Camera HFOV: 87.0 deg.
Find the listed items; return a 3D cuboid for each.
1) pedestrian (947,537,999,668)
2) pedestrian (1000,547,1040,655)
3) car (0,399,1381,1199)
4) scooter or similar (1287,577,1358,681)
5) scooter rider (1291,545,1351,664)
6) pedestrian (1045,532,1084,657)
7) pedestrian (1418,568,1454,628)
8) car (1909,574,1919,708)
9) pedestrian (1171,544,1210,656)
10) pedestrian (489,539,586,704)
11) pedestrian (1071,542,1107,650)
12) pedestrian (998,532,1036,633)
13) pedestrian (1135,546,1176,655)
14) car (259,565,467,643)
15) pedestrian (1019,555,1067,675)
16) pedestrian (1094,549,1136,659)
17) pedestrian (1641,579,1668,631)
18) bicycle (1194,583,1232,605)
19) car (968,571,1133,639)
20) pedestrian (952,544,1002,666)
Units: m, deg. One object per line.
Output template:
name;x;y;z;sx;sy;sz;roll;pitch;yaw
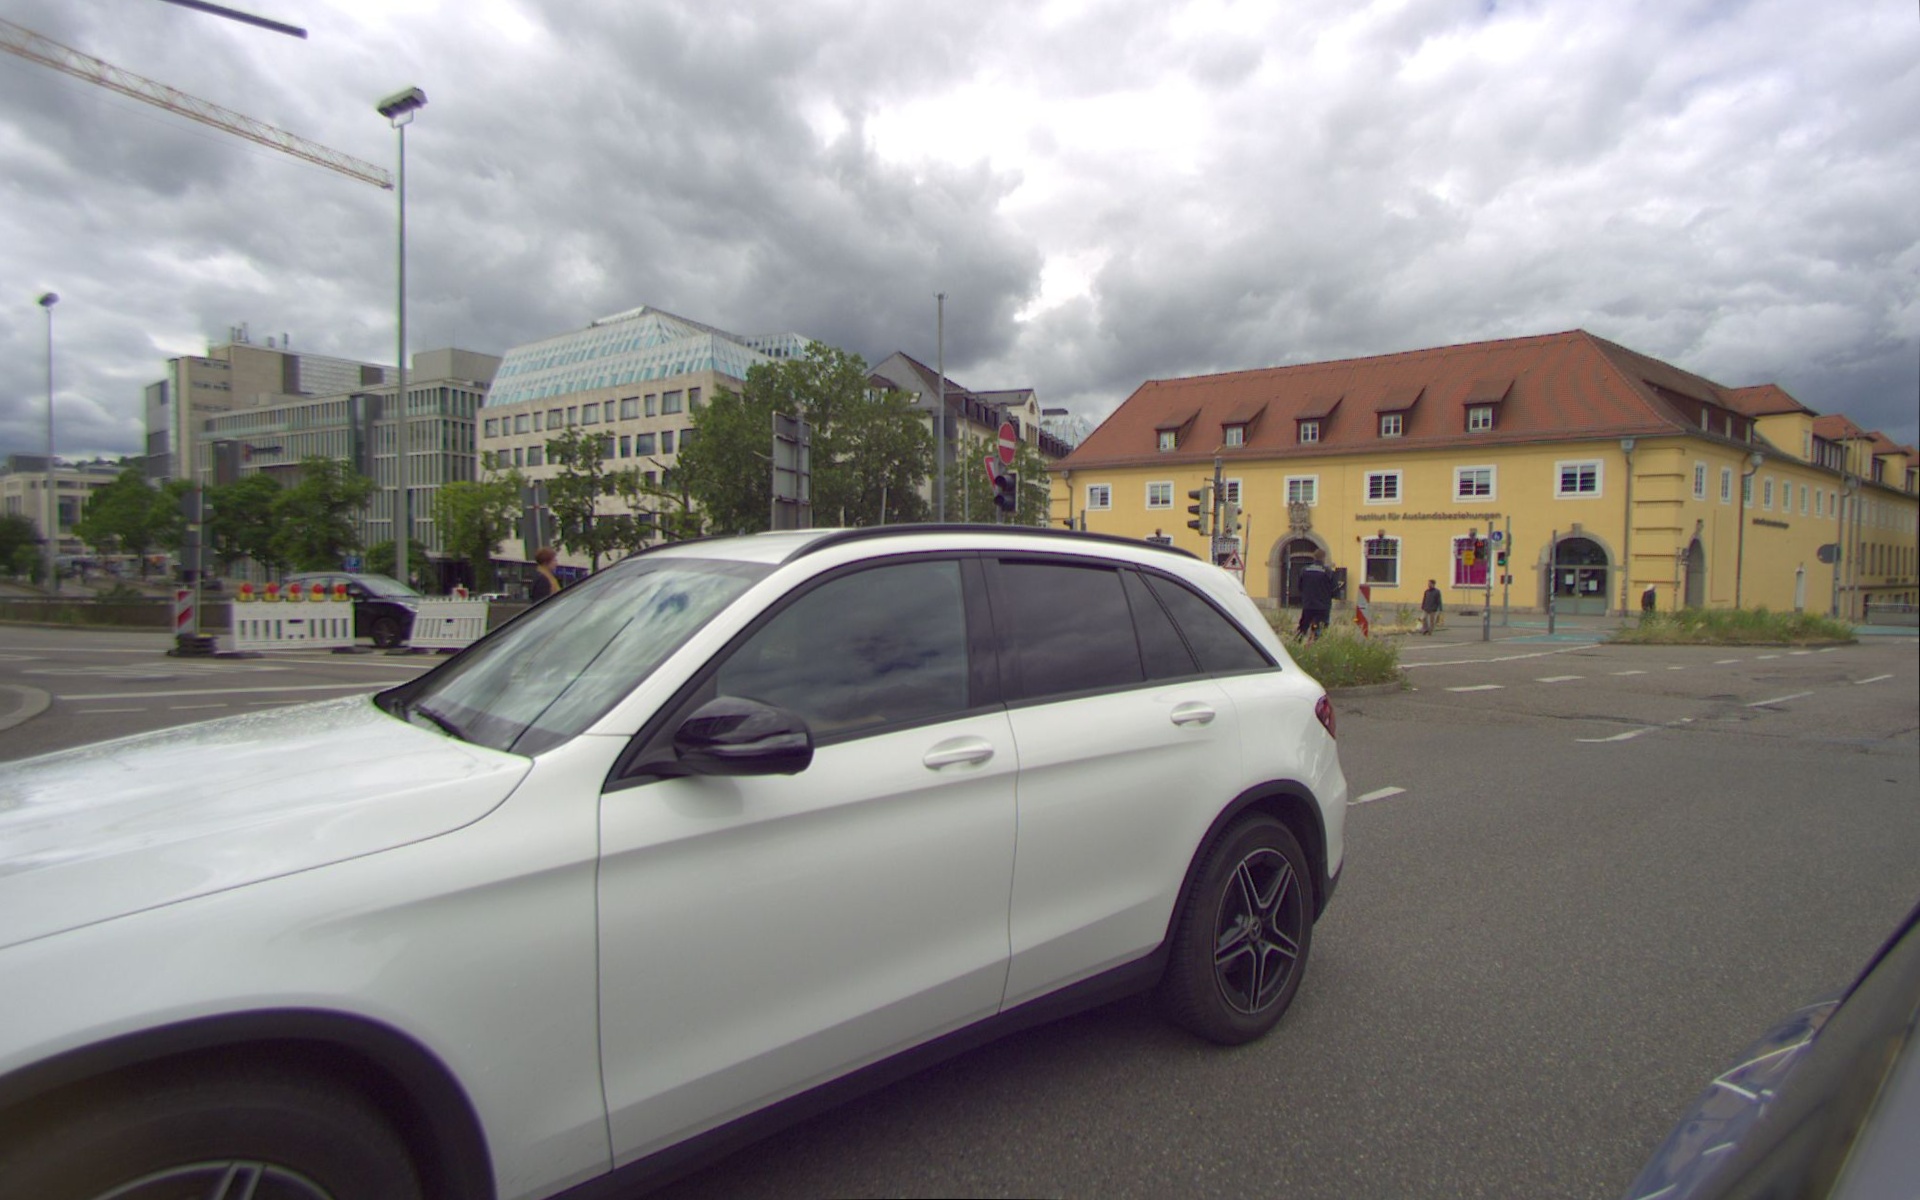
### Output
pedestrian;0.198;0.023;15.014;0.658;1.885;0.701;1;1;9
pedestrian;0.988;0.003;16.502;0.600;1.717;0.642;1;1;6
car;-0.719;0.537;2.898;4.258;1.666;1.806;0;3;-41
scooter or similar;5.353;0.378;15.036;0.765;1.424;1.880;1;1;14
scooter rider;5.398;0.051;15.173;0.755;1.715;0.743;1;1;14
pedestrian;1.694;-0.097;16.409;0.600;1.989;0.642;1;1;6
pedestrian;14.602;-0.073;31.042;0.823;1.811;0.742;2;1;37
car;13.771;0.518;11.990;4.554;1.589;1.876;0;1;-21
pedestrian;4.148;-0.011;18.240;0.601;1.979;0.641;1;1;10
pedestrian;-4.576;0.218;10.980;0.789;1.719;0.546;2;1;12
pedestrian;2.352;-0.074;18.500;0.600;1.934;0.642;1;1;6
pedestrian;1.005;-0.305;17.683;0.600;1.717;0.642;1;1;6
pedestrian;3.351;0.003;17.393;0.600;1.819;0.642;1;1;6
car;-13.580;0.049;23.126;3.750;1.595;1.994;2;2;11
pedestrian;1.271;0.213;15.481;0.658;1.783;0.762;1;1;9
pedestrian;2.483;0.053;16.260;0.600;1.717;0.642;1;1;6
pedestrian;25.944;0.170;37.789;0.631;1.918;0.555;2;1;19
bicycle;12.822;-0.316;51.390;1.764;1.099;0.612;2;2;40
car;2.087;0.098;24.244;3.726;1.520;1.751;1;1;-1
pedestrian;0.272;0.065;15.765;0.658;1.838;0.701;1;1;9
